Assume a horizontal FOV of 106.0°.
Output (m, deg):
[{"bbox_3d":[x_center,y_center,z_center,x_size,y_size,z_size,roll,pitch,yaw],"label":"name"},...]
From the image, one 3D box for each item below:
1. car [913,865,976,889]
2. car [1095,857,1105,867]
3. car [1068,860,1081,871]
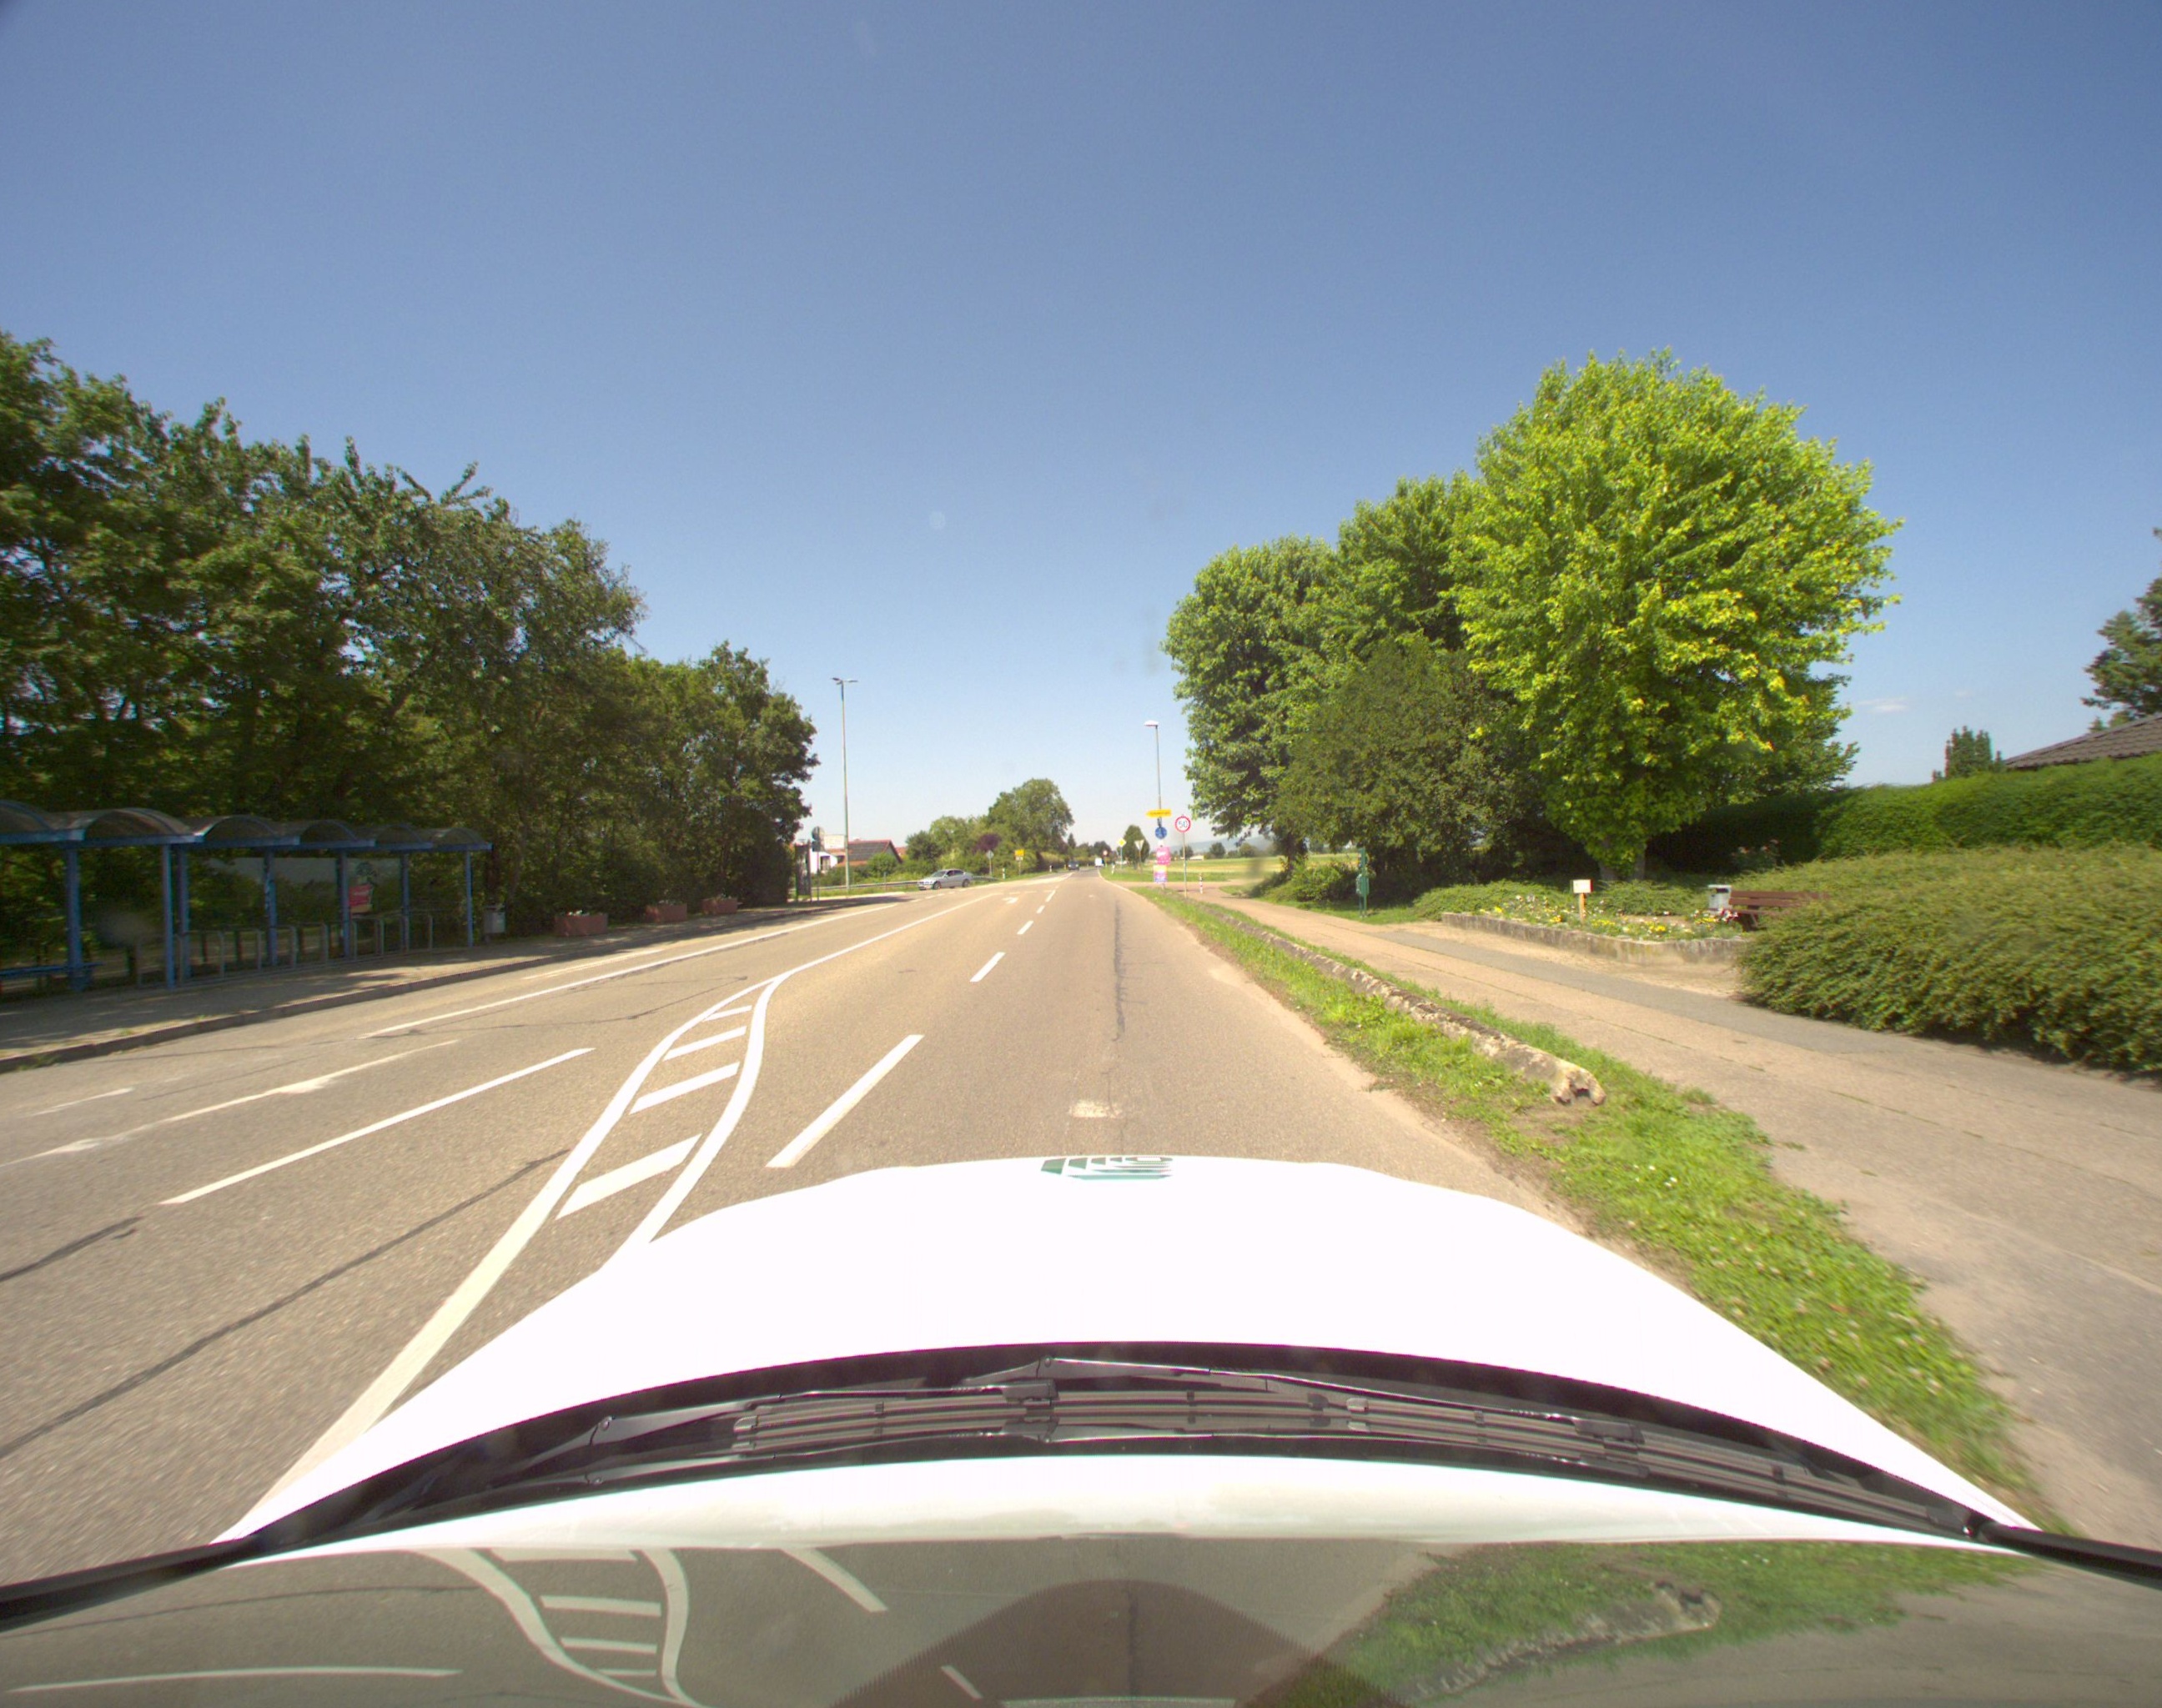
[{"bbox_3d":[-9.763,1.607,58.444,1.620,1.471,4.444,-3,0,40],"label":"car"},{"bbox_3d":[5.584,2.285,236.187,1.979,2.651,4.015,-3,0,13],"label":"car"},{"bbox_3d":[-1.257,2.155,155.932,2.136,1.951,5.250,-3,0,2],"label":"car"}]
